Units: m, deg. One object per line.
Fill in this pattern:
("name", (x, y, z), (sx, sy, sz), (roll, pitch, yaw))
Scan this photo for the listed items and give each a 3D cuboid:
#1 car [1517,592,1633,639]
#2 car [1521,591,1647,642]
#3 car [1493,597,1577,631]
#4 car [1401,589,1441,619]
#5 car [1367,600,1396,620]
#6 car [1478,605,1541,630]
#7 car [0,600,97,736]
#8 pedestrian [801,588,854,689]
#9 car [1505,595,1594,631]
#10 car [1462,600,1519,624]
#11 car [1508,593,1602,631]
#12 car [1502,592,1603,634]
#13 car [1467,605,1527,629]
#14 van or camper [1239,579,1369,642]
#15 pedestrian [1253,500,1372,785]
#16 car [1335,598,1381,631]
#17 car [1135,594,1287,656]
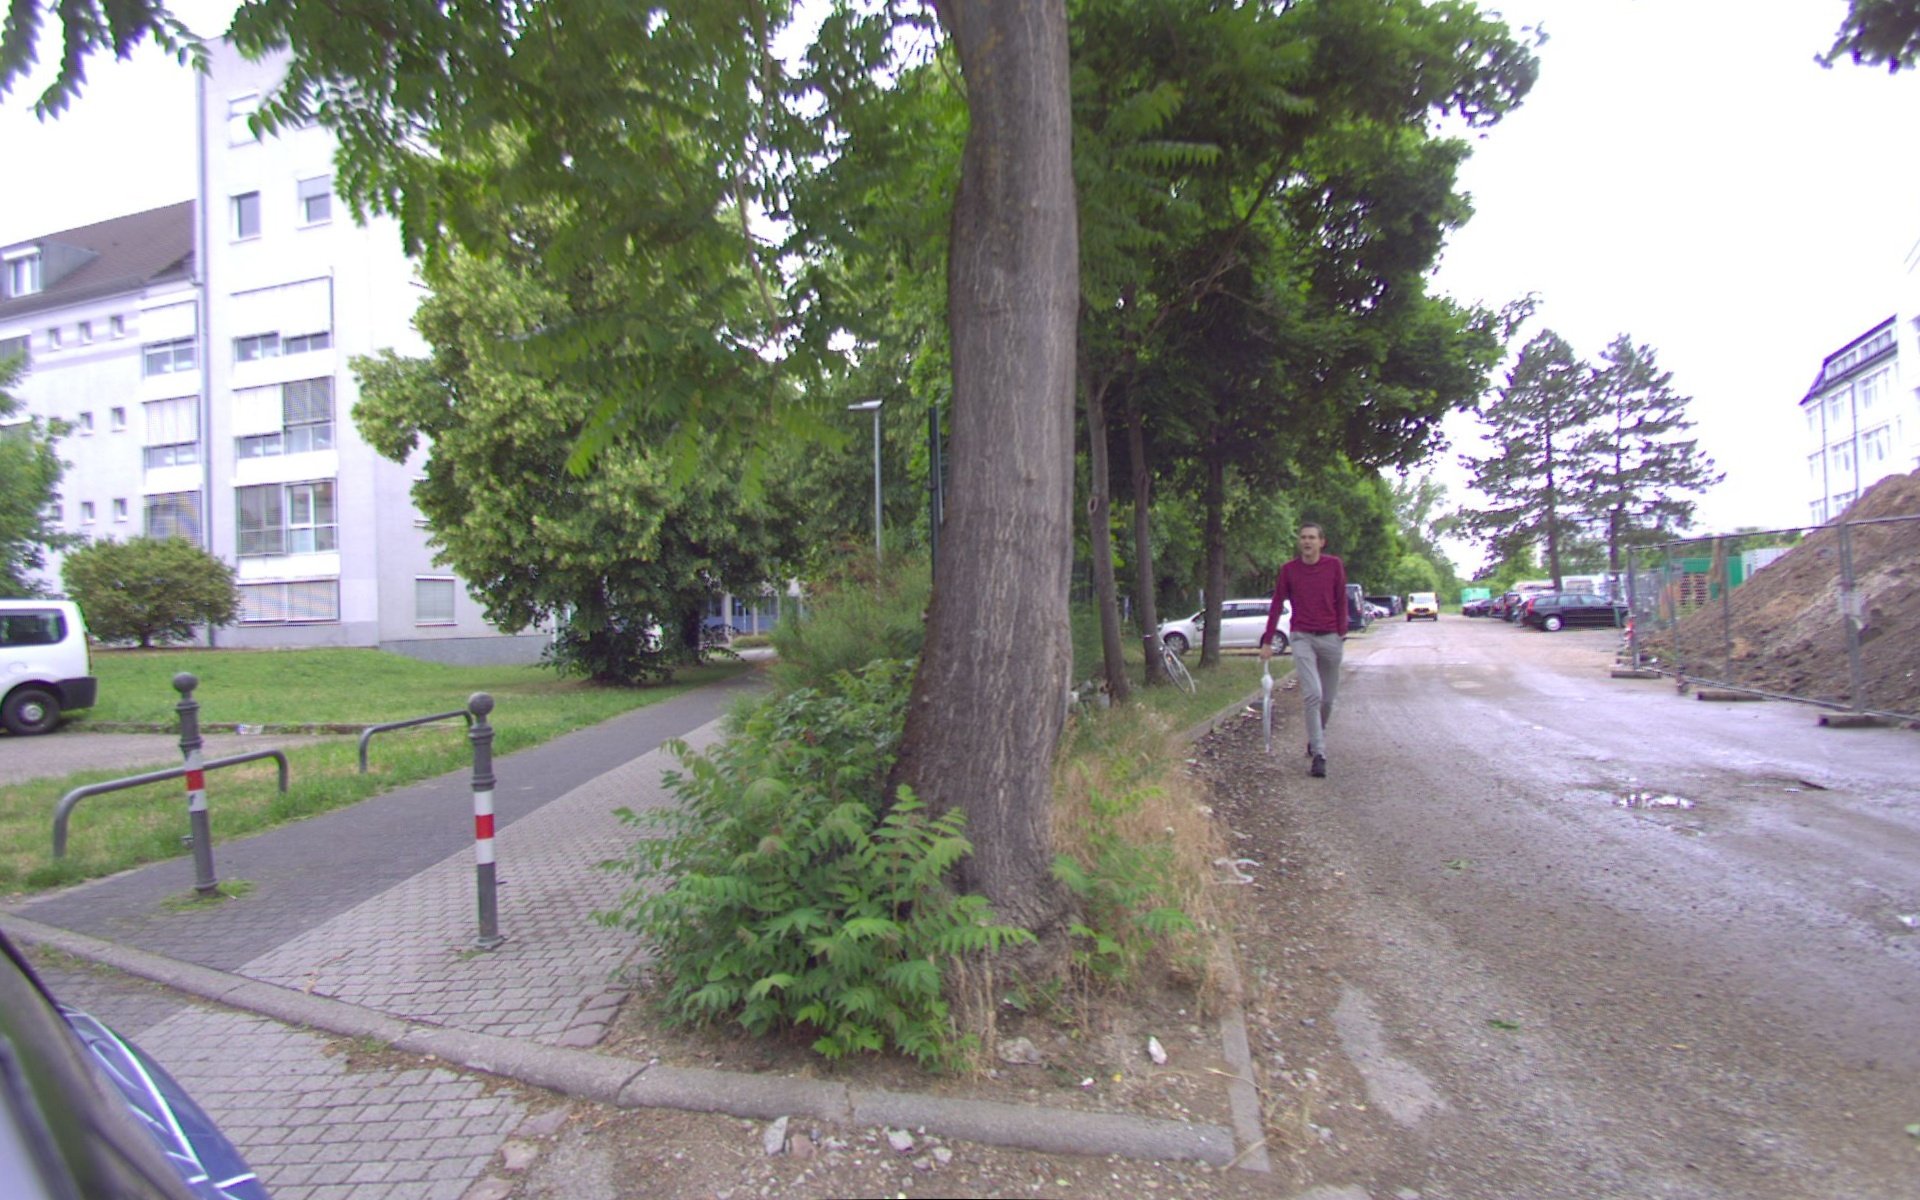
("car", (25.472, 0.649, 42.007), (3.988, 1.852, 1.978), (-2, -1, 33))
("car", (23.812, 0.659, 38.722), (3.988, 1.852, 1.978), (-2, -1, 33))
("car", (32.617, 0.789, 57.409), (3.988, 1.852, 1.978), (-2, -1, 33))
("car", (32.683, 0.322, 71.809), (2.108, 2.029, 3.975), (-1, -1, 18))
("car", (35.768, 0.840, 85.985), (1.985, 1.608, 3.973), (-1, -1, 20))
("car", (41.867, 1.336, 77.251), (3.975, 1.852, 1.984), (-2, -1, 23))
("car", (-14.801, 1.013, 13.421), (1.892, 1.887, 4.730), (-4, -2, 26))
("pedestrian", (-2.365, 0.675, 18.049), (0.679, 1.762, 0.615), (-2, -1, 29))
("car", (31.583, 0.711, 54.220), (3.988, 1.852, 1.978), (-2, -1, 33))
("car", (43.872, 0.984, 83.724), (3.975, 1.852, 1.984), (-2, -1, 23))
("car", (30.047, 0.618, 51.099), (3.988, 1.852, 1.978), (-2, -1, 33))
("car", (27.777, 0.622, 47.614), (3.982, 1.873, 1.980), (-2, -1, 29))
("car", (42.319, 1.344, 79.897), (3.975, 1.852, 1.984), (-2, -1, 23))
("van or camper", (13.158, 0.425, 38.714), (4.477, 2.275, 1.982), (-1, -1, 26))
("pedestrian", (2.831, 0.321, 8.115), (0.789, 2.080, 1.192), (-1, -1, 21))
("car", (20.870, 0.757, 53.144), (1.805, 1.608, 3.979), (-1, -1, 16))
("car", (6.784, 0.683, 27.516), (3.849, 1.586, 1.744), (-1, -1, 14))
